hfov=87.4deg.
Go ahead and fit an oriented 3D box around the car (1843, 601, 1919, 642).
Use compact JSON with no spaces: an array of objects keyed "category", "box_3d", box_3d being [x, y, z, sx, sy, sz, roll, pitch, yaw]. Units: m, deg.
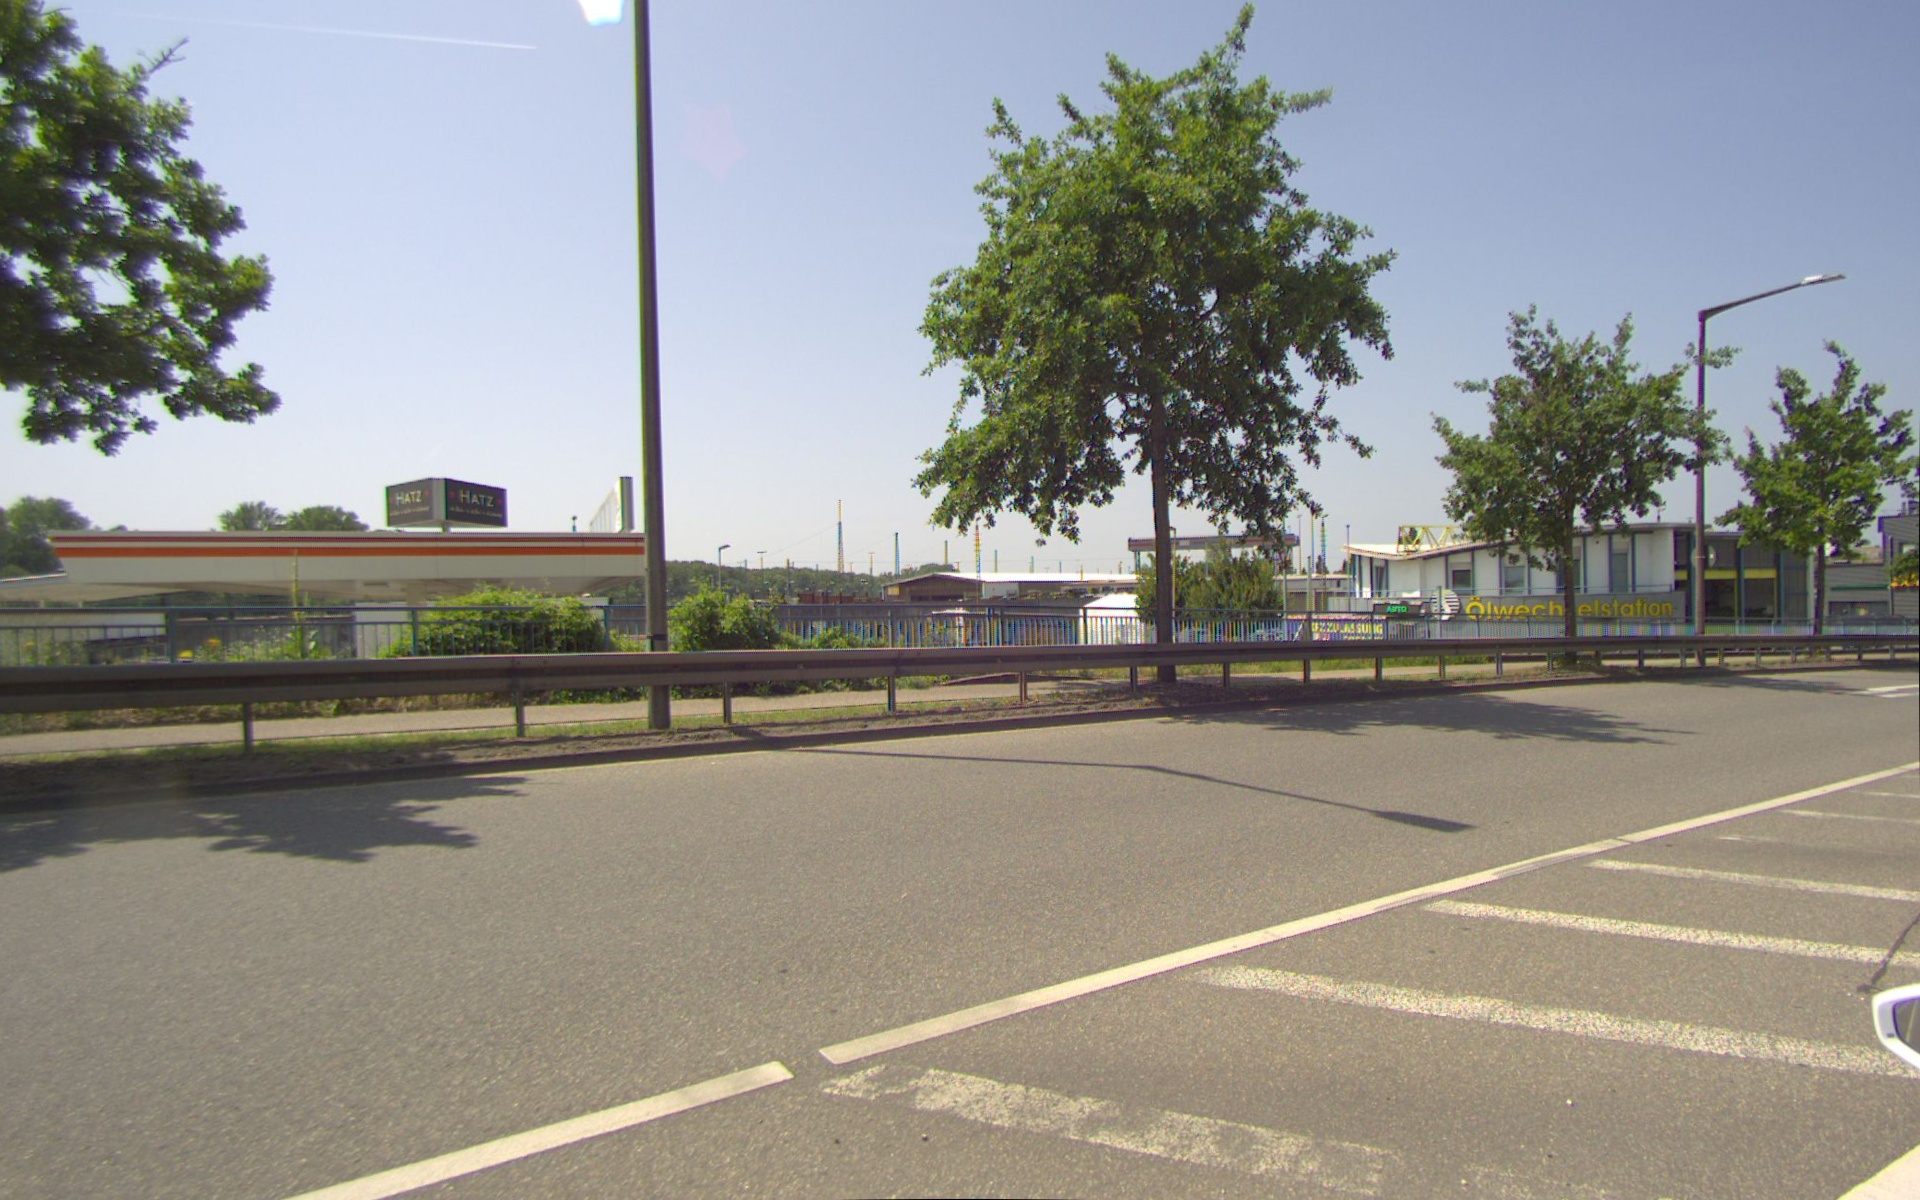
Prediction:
[{"category":"car","box_3d":[38.037,0.894,40.300,4.567,1.589,1.896,1,-2,-19]}]
